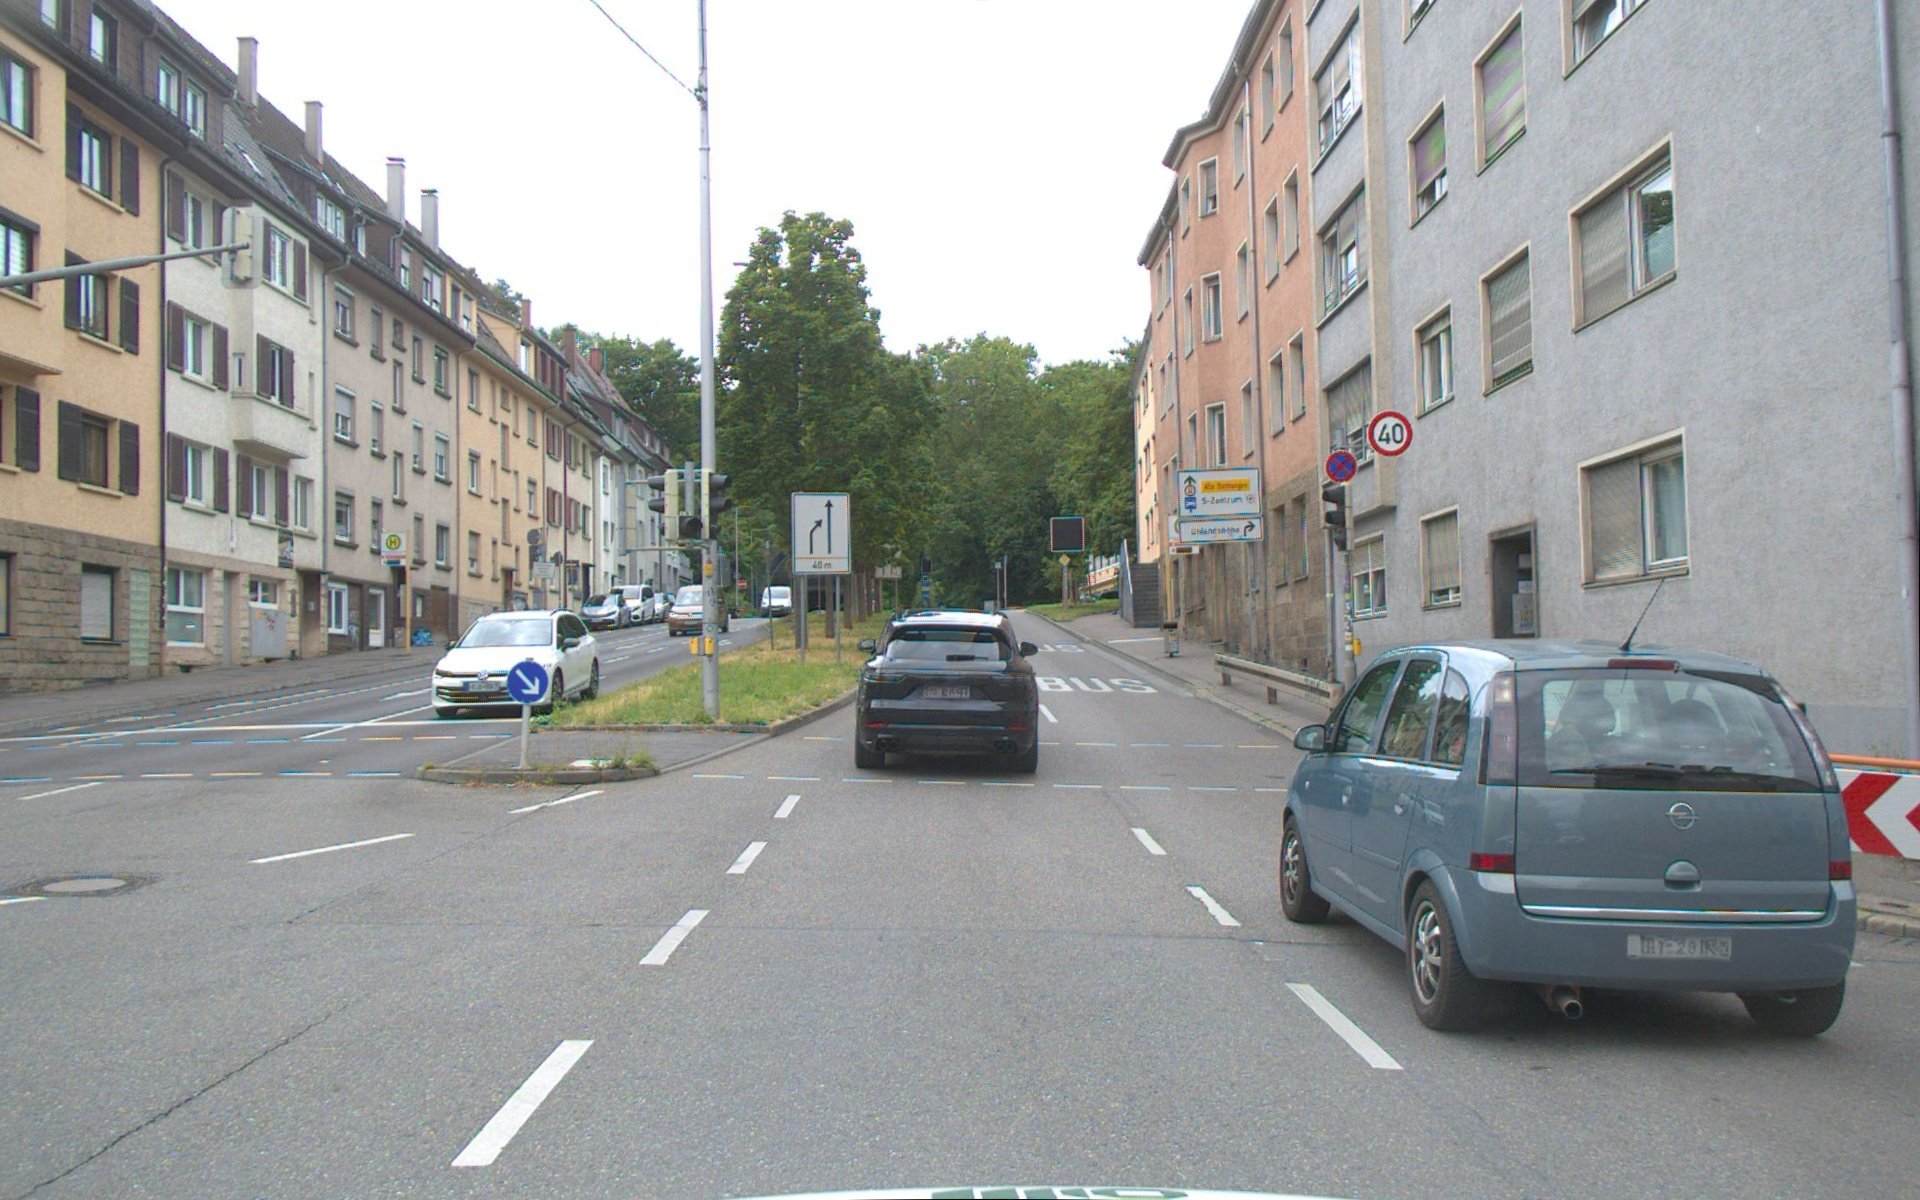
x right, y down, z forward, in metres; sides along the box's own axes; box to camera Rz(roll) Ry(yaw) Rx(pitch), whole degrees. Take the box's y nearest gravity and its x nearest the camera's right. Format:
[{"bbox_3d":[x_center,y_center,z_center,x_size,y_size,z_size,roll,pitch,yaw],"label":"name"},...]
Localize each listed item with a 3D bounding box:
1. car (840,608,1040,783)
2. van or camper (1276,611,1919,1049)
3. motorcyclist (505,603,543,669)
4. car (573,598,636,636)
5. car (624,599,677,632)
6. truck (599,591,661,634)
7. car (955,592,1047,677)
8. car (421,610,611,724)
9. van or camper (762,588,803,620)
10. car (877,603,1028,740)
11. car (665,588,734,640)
[{"bbox_3d":[-0.171,0.977,18.623,1.952,1.682,4.000,-2,-1,1],"label":"car"},{"bbox_3d":[2.746,0.908,7.958,1.700,1.606,3.644,1,-2,-1],"label":"van or camper"},{"bbox_3d":[-10.015,0.828,38.014,0.659,1.501,0.662,-1,-1,1],"label":"motorcyclist"},{"bbox_3d":[-15.620,0.728,72.837,1.953,1.579,4.157,-2,0,-2],"label":"car"},{"bbox_3d":[-15.816,0.758,84.707,1.953,1.579,4.381,-2,0,-2],"label":"car"},{"bbox_3d":[-15.790,0.580,79.379,1.953,1.953,5.345,-2,0,-2],"label":"truck"},{"bbox_3d":[0.907,0.724,37.225,1.894,1.682,4.001,-2,1,1],"label":"car"},{"bbox_3d":[-6.644,0.941,25.224,1.710,1.493,4.585,-1,0,-1],"label":"car"},{"bbox_3d":[-10.269,0.247,95.761,1.869,1.792,4.654,1,-1,0],"label":"van or camper"},{"bbox_3d":[-0.064,0.930,23.399,1.894,1.682,4.000,-2,0,1],"label":"car"},{"bbox_3d":[-9.660,0.551,61.719,1.841,1.848,4.351,1,-1,0],"label":"car"}]
